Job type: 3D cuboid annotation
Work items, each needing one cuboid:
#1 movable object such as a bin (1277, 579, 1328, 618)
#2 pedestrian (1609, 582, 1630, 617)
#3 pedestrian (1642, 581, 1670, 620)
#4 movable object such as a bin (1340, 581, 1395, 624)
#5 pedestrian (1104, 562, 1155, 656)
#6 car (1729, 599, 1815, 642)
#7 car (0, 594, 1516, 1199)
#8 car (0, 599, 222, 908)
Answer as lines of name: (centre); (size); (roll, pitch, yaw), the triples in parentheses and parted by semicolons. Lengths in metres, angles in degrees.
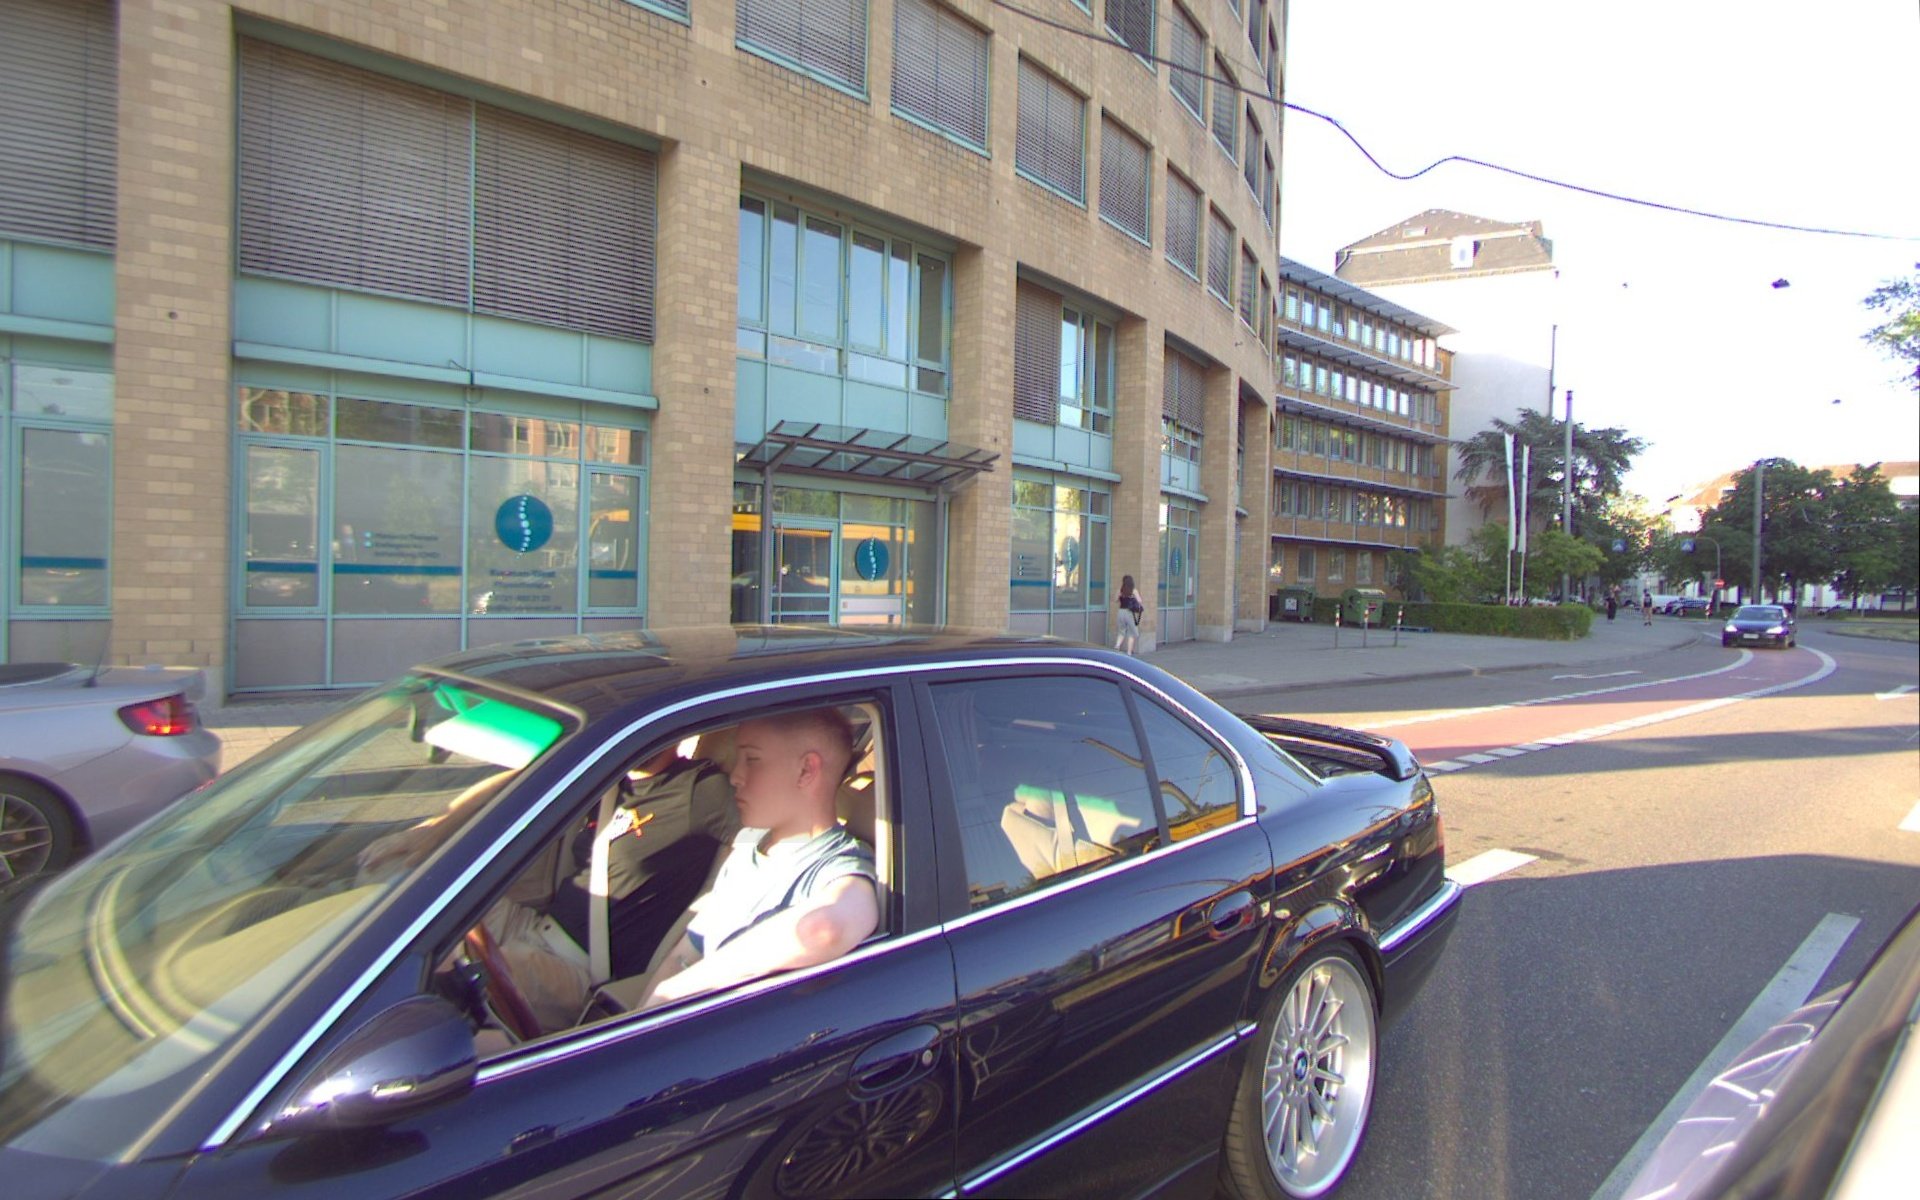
movable object such as a bin: (13.356, -0.075, 39.503); (1.310, 1.477, 1.425); (0, 1, -43)
pedestrian: (34.716, -0.026, 53.266); (0.711, 1.830, 0.728); (0, 1, -41)
pedestrian: (35.668, 0.017, 51.885); (0.900, 1.918, 1.119); (1, 1, 20)
movable object such as a bin: (14.873, 0.077, 36.959); (1.311, 1.477, 1.424); (0, 1, -45)
pedestrian: (3.167, 0.161, 18.905); (0.702, 1.702, 0.626); (0, 1, -44)
car: (28.276, 0.677, 35.195); (3.932, 1.404, 1.756); (0, 0, -42)
car: (-0.712, 0.703, 2.328); (4.656, 1.402, 1.997); (0, 1, -41)
car: (-5.908, 0.702, 4.471); (4.153, 1.403, 1.746); (0, 0, -41)
